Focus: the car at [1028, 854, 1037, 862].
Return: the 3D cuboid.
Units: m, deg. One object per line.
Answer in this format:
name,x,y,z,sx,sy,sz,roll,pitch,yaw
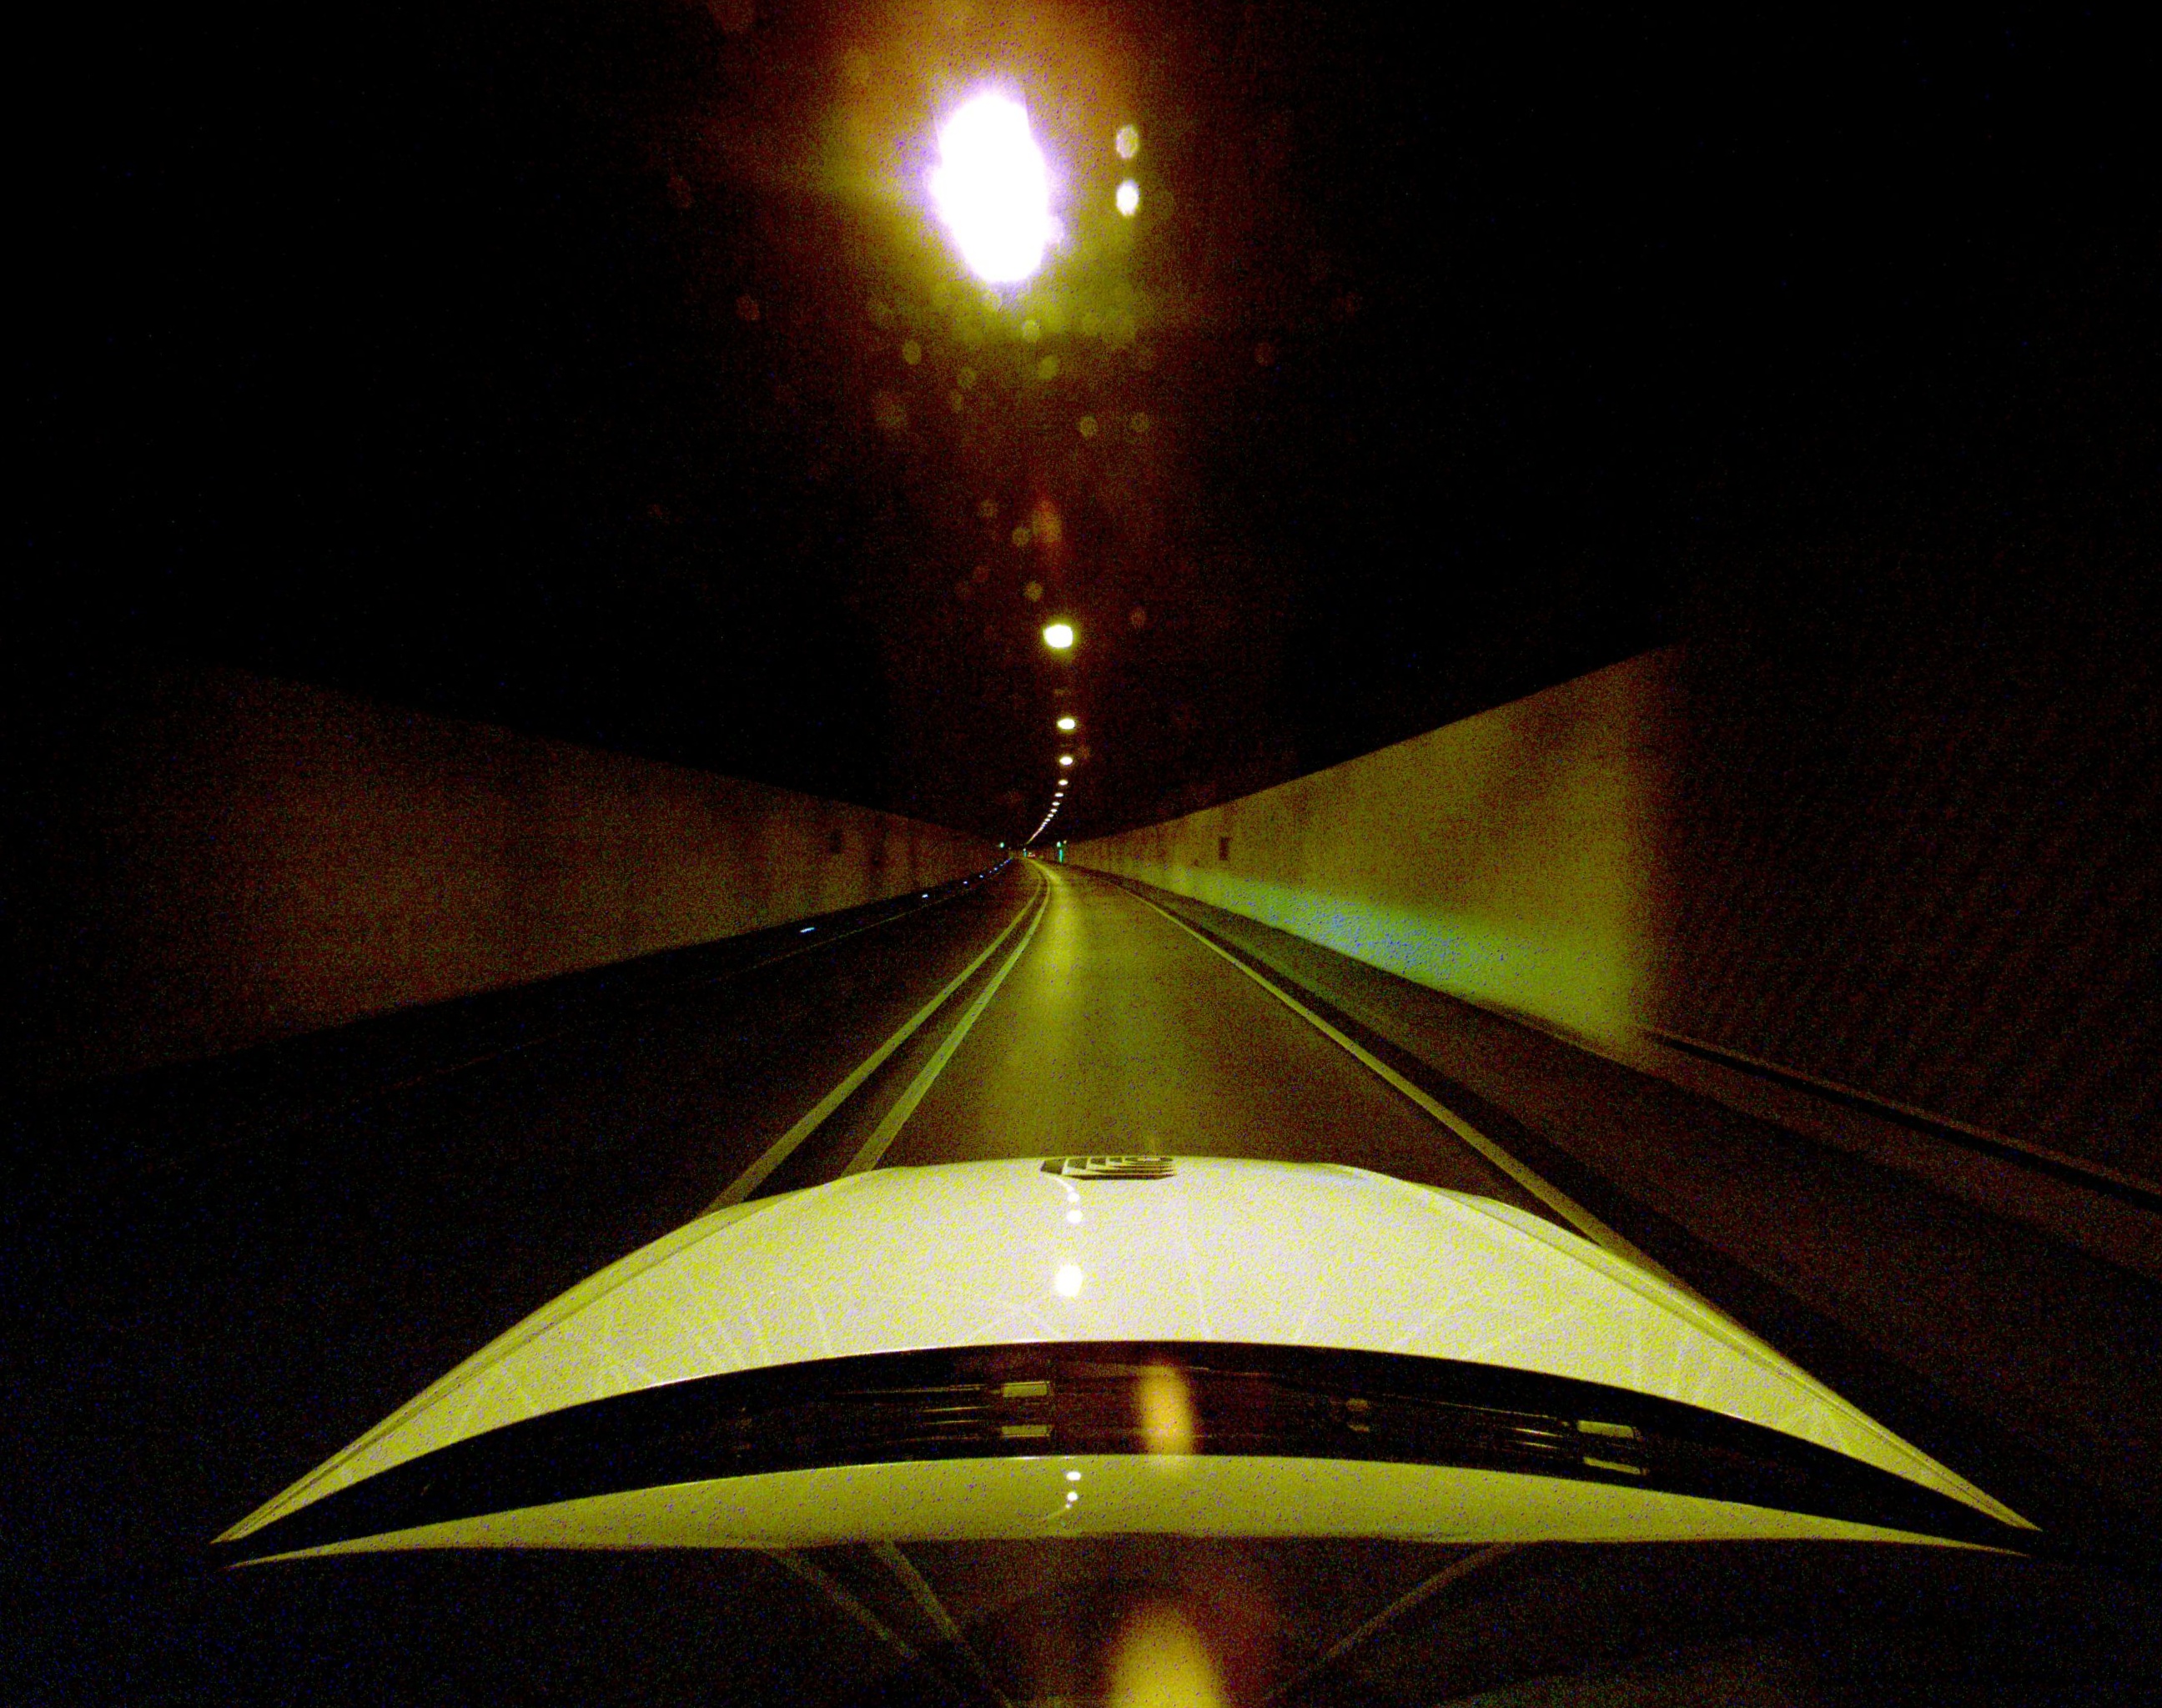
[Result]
car,-12.944,1.096,216.227,1.967,1.939,4.596,0,-1,-10
